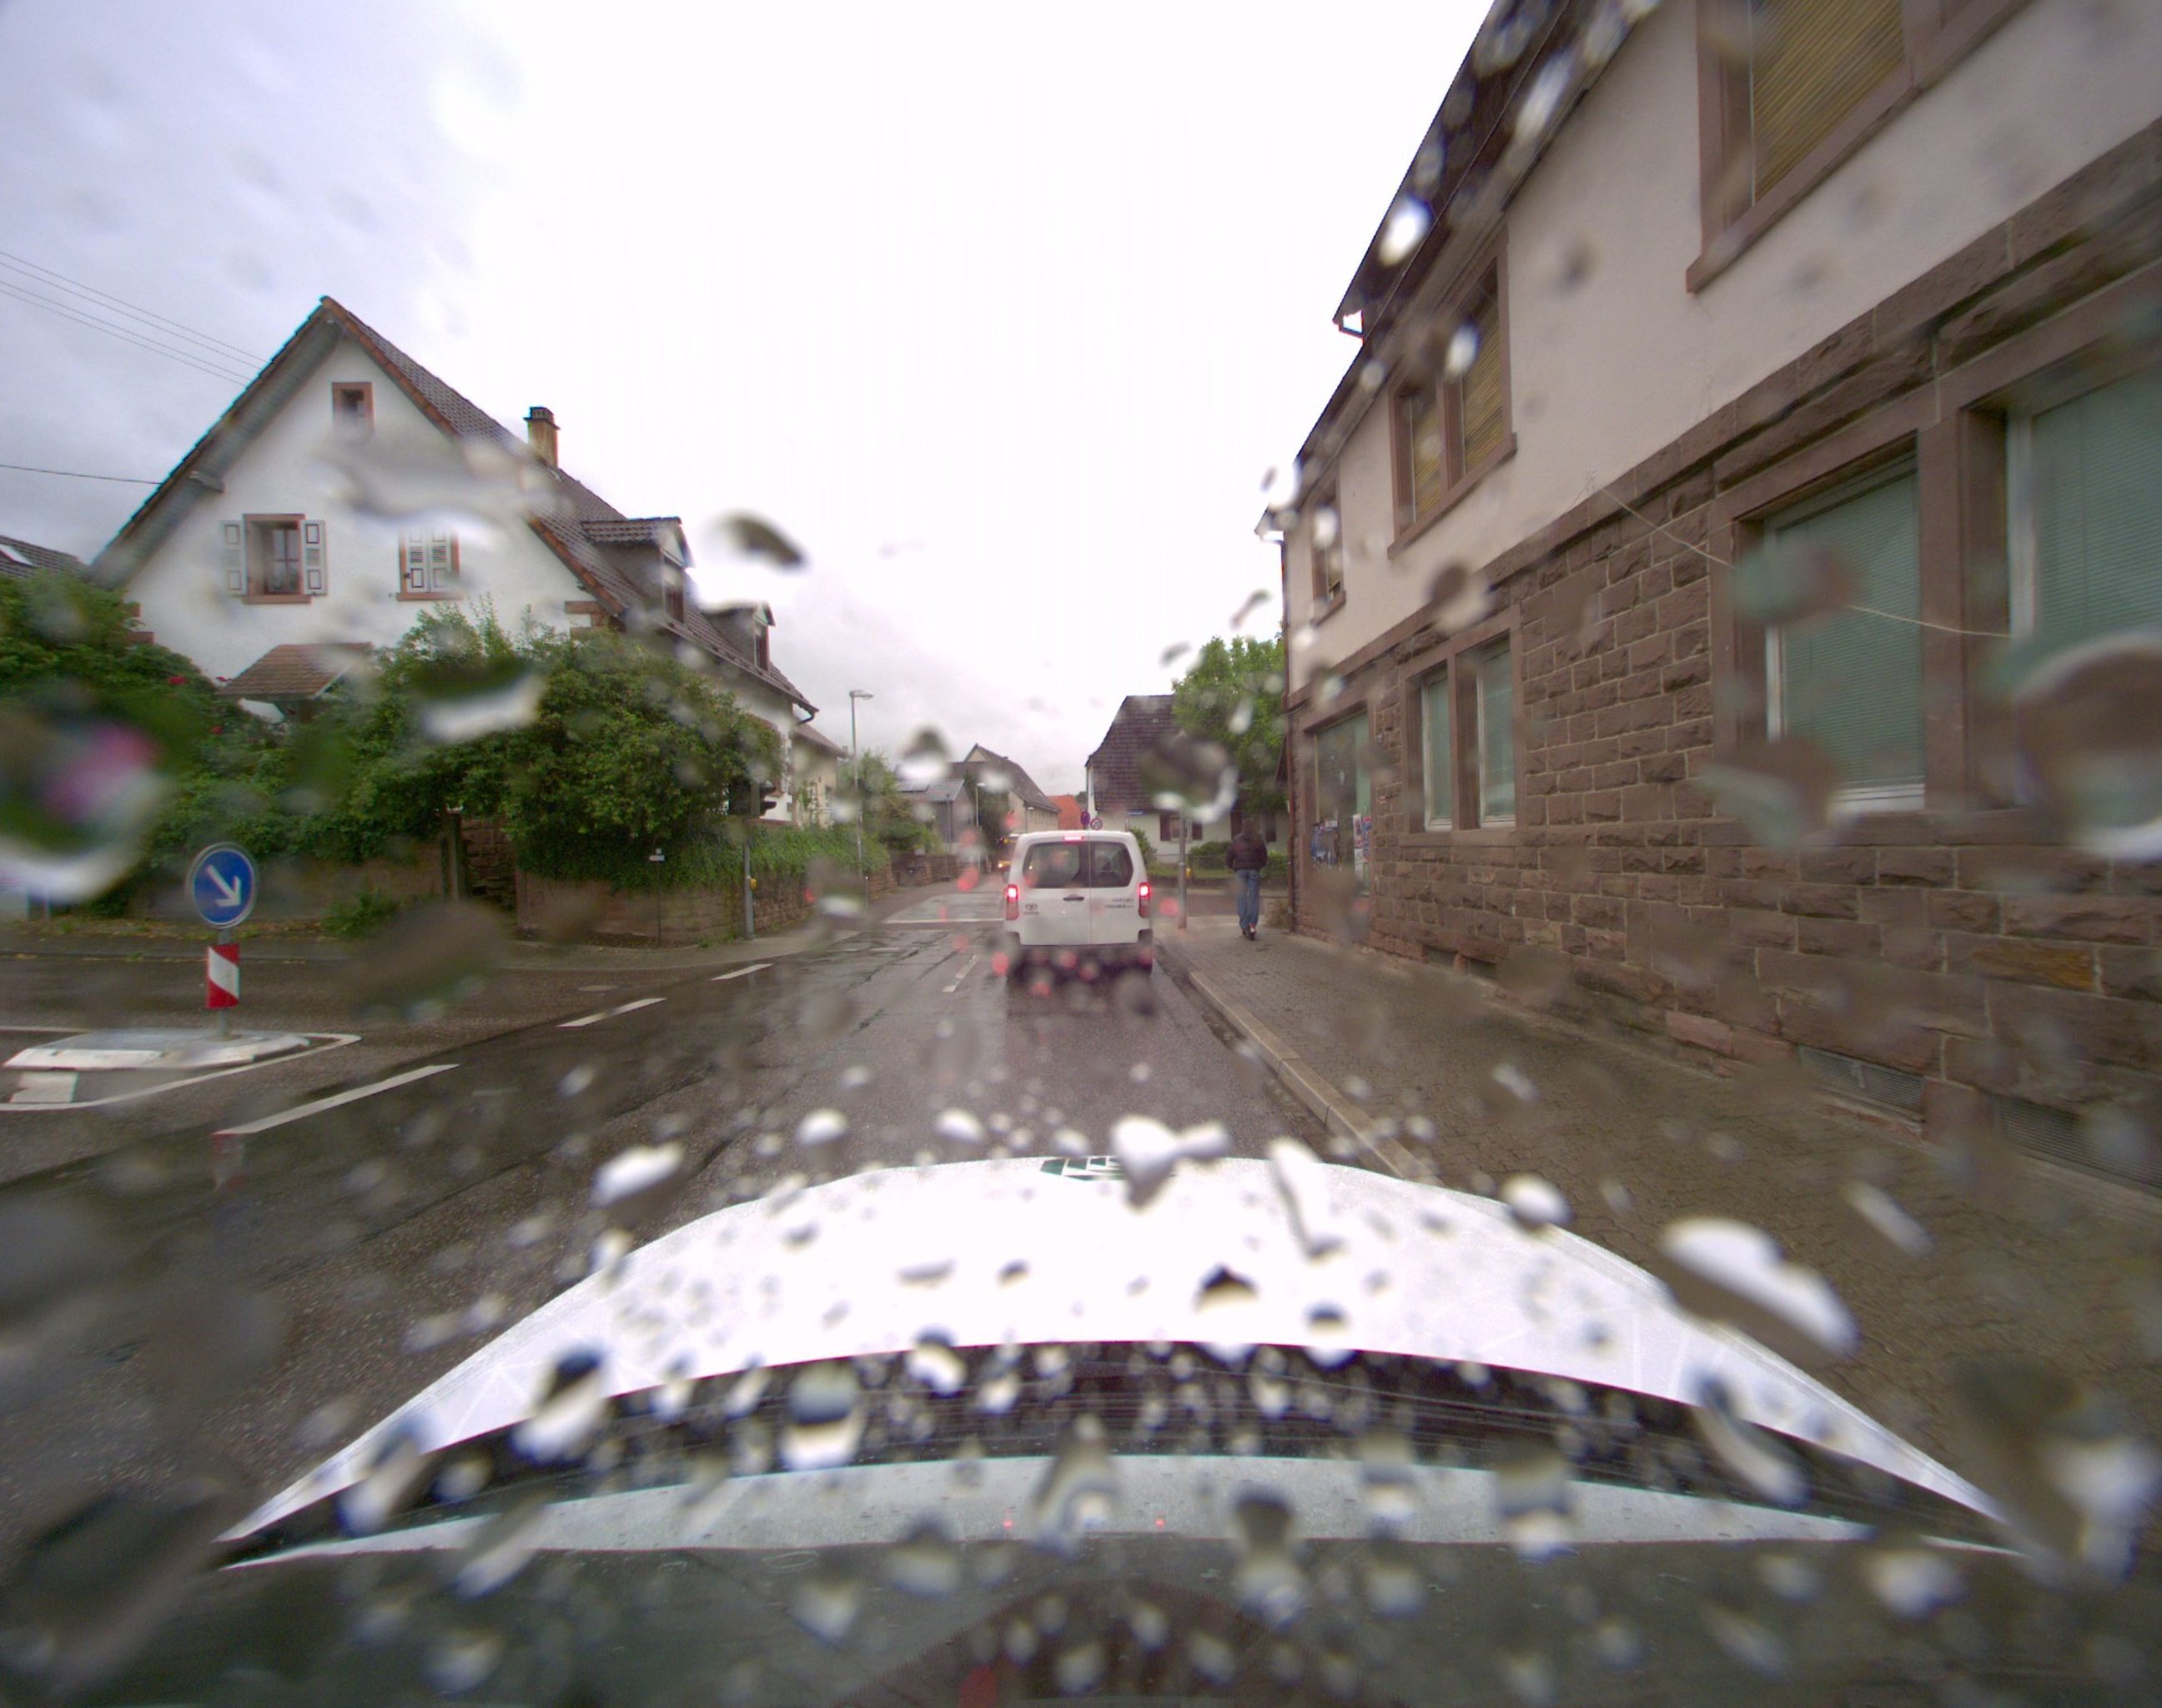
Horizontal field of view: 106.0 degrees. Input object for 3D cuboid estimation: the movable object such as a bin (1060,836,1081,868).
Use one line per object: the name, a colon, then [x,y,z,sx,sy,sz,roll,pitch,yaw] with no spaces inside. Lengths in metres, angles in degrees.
movable object such as a bin: [-0.882,-0.173,70.923,1.720,2.653,3.975,0,0,2]

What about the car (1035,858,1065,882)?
car: [-2.053,1.057,55.424,1.803,1.596,3.756,0,0,1]

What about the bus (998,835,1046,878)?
bus: [-4.484,0.006,64.527,2.640,2.999,12.197,-1,2,1]

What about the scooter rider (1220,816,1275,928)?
scooter rider: [2.641,0.283,12.954,0.729,1.733,0.518,-1,-1,-2]

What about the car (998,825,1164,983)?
car: [-0.040,0.555,11.200,1.889,1.794,3.811,0,0,-2]

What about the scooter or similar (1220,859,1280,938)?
scooter or similar: [2.644,0.668,12.850,0.618,1.127,1.401,-1,1,-2]
